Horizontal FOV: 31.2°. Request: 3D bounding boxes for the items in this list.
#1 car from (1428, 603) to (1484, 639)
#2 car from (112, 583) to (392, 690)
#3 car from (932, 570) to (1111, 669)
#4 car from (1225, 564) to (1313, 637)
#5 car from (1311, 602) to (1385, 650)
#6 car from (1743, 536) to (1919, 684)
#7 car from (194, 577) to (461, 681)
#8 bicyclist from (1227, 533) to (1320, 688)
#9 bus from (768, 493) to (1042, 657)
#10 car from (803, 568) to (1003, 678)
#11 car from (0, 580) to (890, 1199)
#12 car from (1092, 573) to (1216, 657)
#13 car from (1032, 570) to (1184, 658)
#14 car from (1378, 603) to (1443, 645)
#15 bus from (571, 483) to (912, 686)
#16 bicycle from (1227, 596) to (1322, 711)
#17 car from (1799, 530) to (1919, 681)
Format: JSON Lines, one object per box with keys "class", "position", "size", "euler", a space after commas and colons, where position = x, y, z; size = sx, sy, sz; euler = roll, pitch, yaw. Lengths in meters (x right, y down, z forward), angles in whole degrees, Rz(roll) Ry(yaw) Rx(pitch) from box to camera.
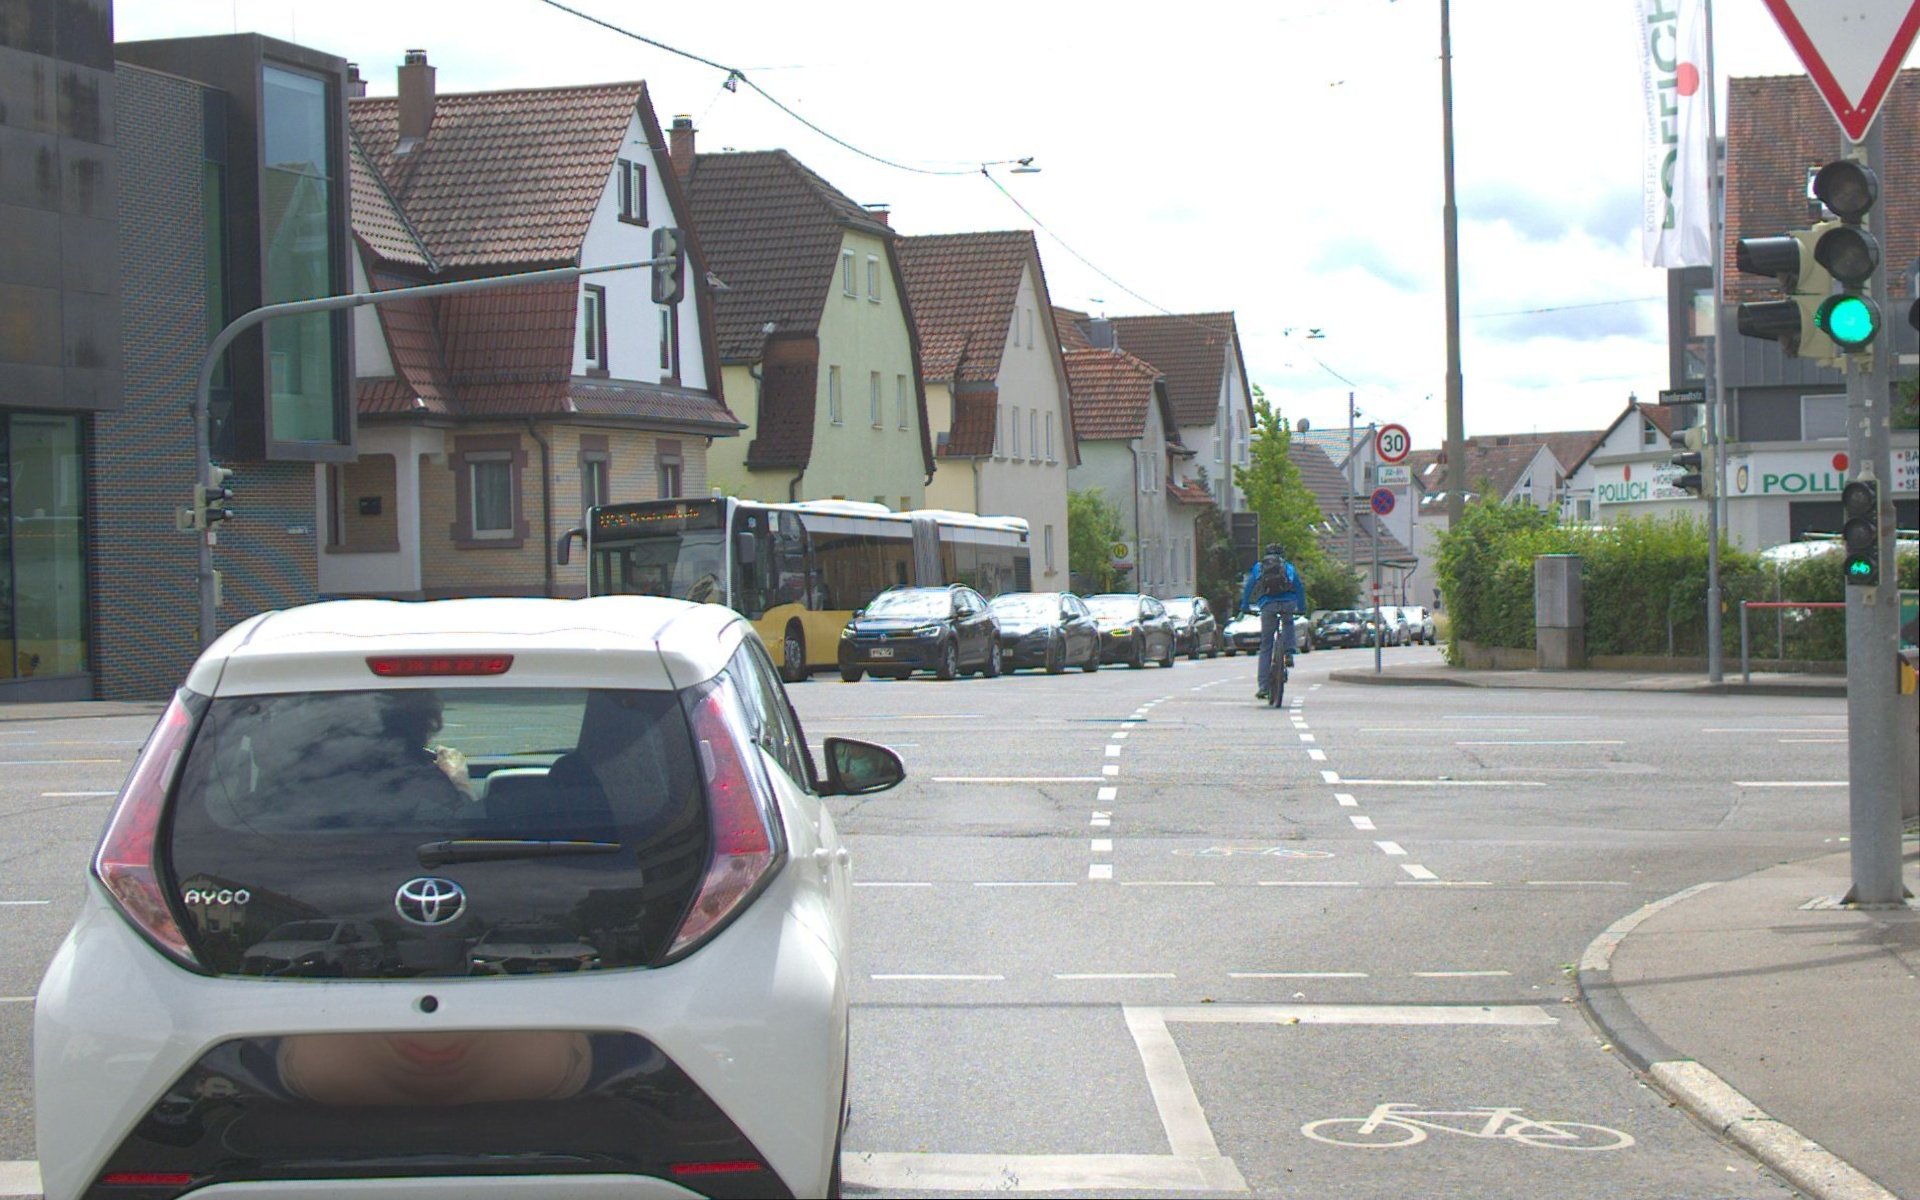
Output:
{"class": "car", "position": [23.239, 0.972, 161.040], "size": [1.995, 1.634, 3.997], "euler": [0, 1, 17]}
{"class": "car", "position": [-11.503, 0.570, 55.951], "size": [3.989, 1.634, 1.999], "euler": [1, 1, 13]}
{"class": "car", "position": [1.100, 0.299, 59.166], "size": [1.995, 1.634, 4.180], "euler": [0, 1, 17]}
{"class": "car", "position": [8.801, -0.013, 97.749], "size": [1.995, 2.007, 3.998], "euler": [0, 1, 13]}
{"class": "car", "position": [14.163, 0.935, 125.387], "size": [1.995, 1.634, 3.997], "euler": [0, 1, 17]}
{"class": "car", "position": [13.235, 0.120, 48.091], "size": [3.986, 2.007, 2.000], "euler": [0, 0, -8]}
{"class": "car", "position": [-10.794, 0.487, 58.735], "size": [3.989, 1.678, 1.999], "euler": [-1, 0, 14]}
{"class": "bicyclist", "position": [3.375, 0.107, 37.050], "size": [0.840, 1.609, 1.083], "euler": [2, 0, 0]}
{"class": "bus", "position": [-0.892, -0.506, 65.692], "size": [2.780, 2.905, 9.184], "euler": [0, 1, 15]}
{"class": "car", "position": [-0.843, 0.327, 53.883], "size": [1.995, 1.634, 3.997], "euler": [0, 1, 17]}
{"class": "car", "position": [-1.060, 0.699, 8.220], "size": [1.738, 1.455, 3.532], "euler": [-1, 1, -1]}
{"class": "car", "position": [4.811, 0.342, 84.793], "size": [1.995, 2.007, 3.996], "euler": [0, 1, 20]}
{"class": "car", "position": [2.884, 0.239, 66.211], "size": [1.995, 1.634, 3.997], "euler": [0, 1, 17]}
{"class": "car", "position": [18.380, 0.957, 140.056], "size": [1.995, 1.634, 3.997], "euler": [0, 1, 17]}
{"class": "bus", "position": [-3.398, -0.290, 56.661], "size": [2.780, 3.050, 9.184], "euler": [0, 1, 15]}
{"class": "bicycle", "position": [3.367, 0.556, 36.985], "size": [0.832, 1.160, 2.192], "euler": [0, 1, 1]}
{"class": "car", "position": [13.406, 0.069, 45.518], "size": [3.986, 1.941, 2.000], "euler": [0, 0, -9]}
